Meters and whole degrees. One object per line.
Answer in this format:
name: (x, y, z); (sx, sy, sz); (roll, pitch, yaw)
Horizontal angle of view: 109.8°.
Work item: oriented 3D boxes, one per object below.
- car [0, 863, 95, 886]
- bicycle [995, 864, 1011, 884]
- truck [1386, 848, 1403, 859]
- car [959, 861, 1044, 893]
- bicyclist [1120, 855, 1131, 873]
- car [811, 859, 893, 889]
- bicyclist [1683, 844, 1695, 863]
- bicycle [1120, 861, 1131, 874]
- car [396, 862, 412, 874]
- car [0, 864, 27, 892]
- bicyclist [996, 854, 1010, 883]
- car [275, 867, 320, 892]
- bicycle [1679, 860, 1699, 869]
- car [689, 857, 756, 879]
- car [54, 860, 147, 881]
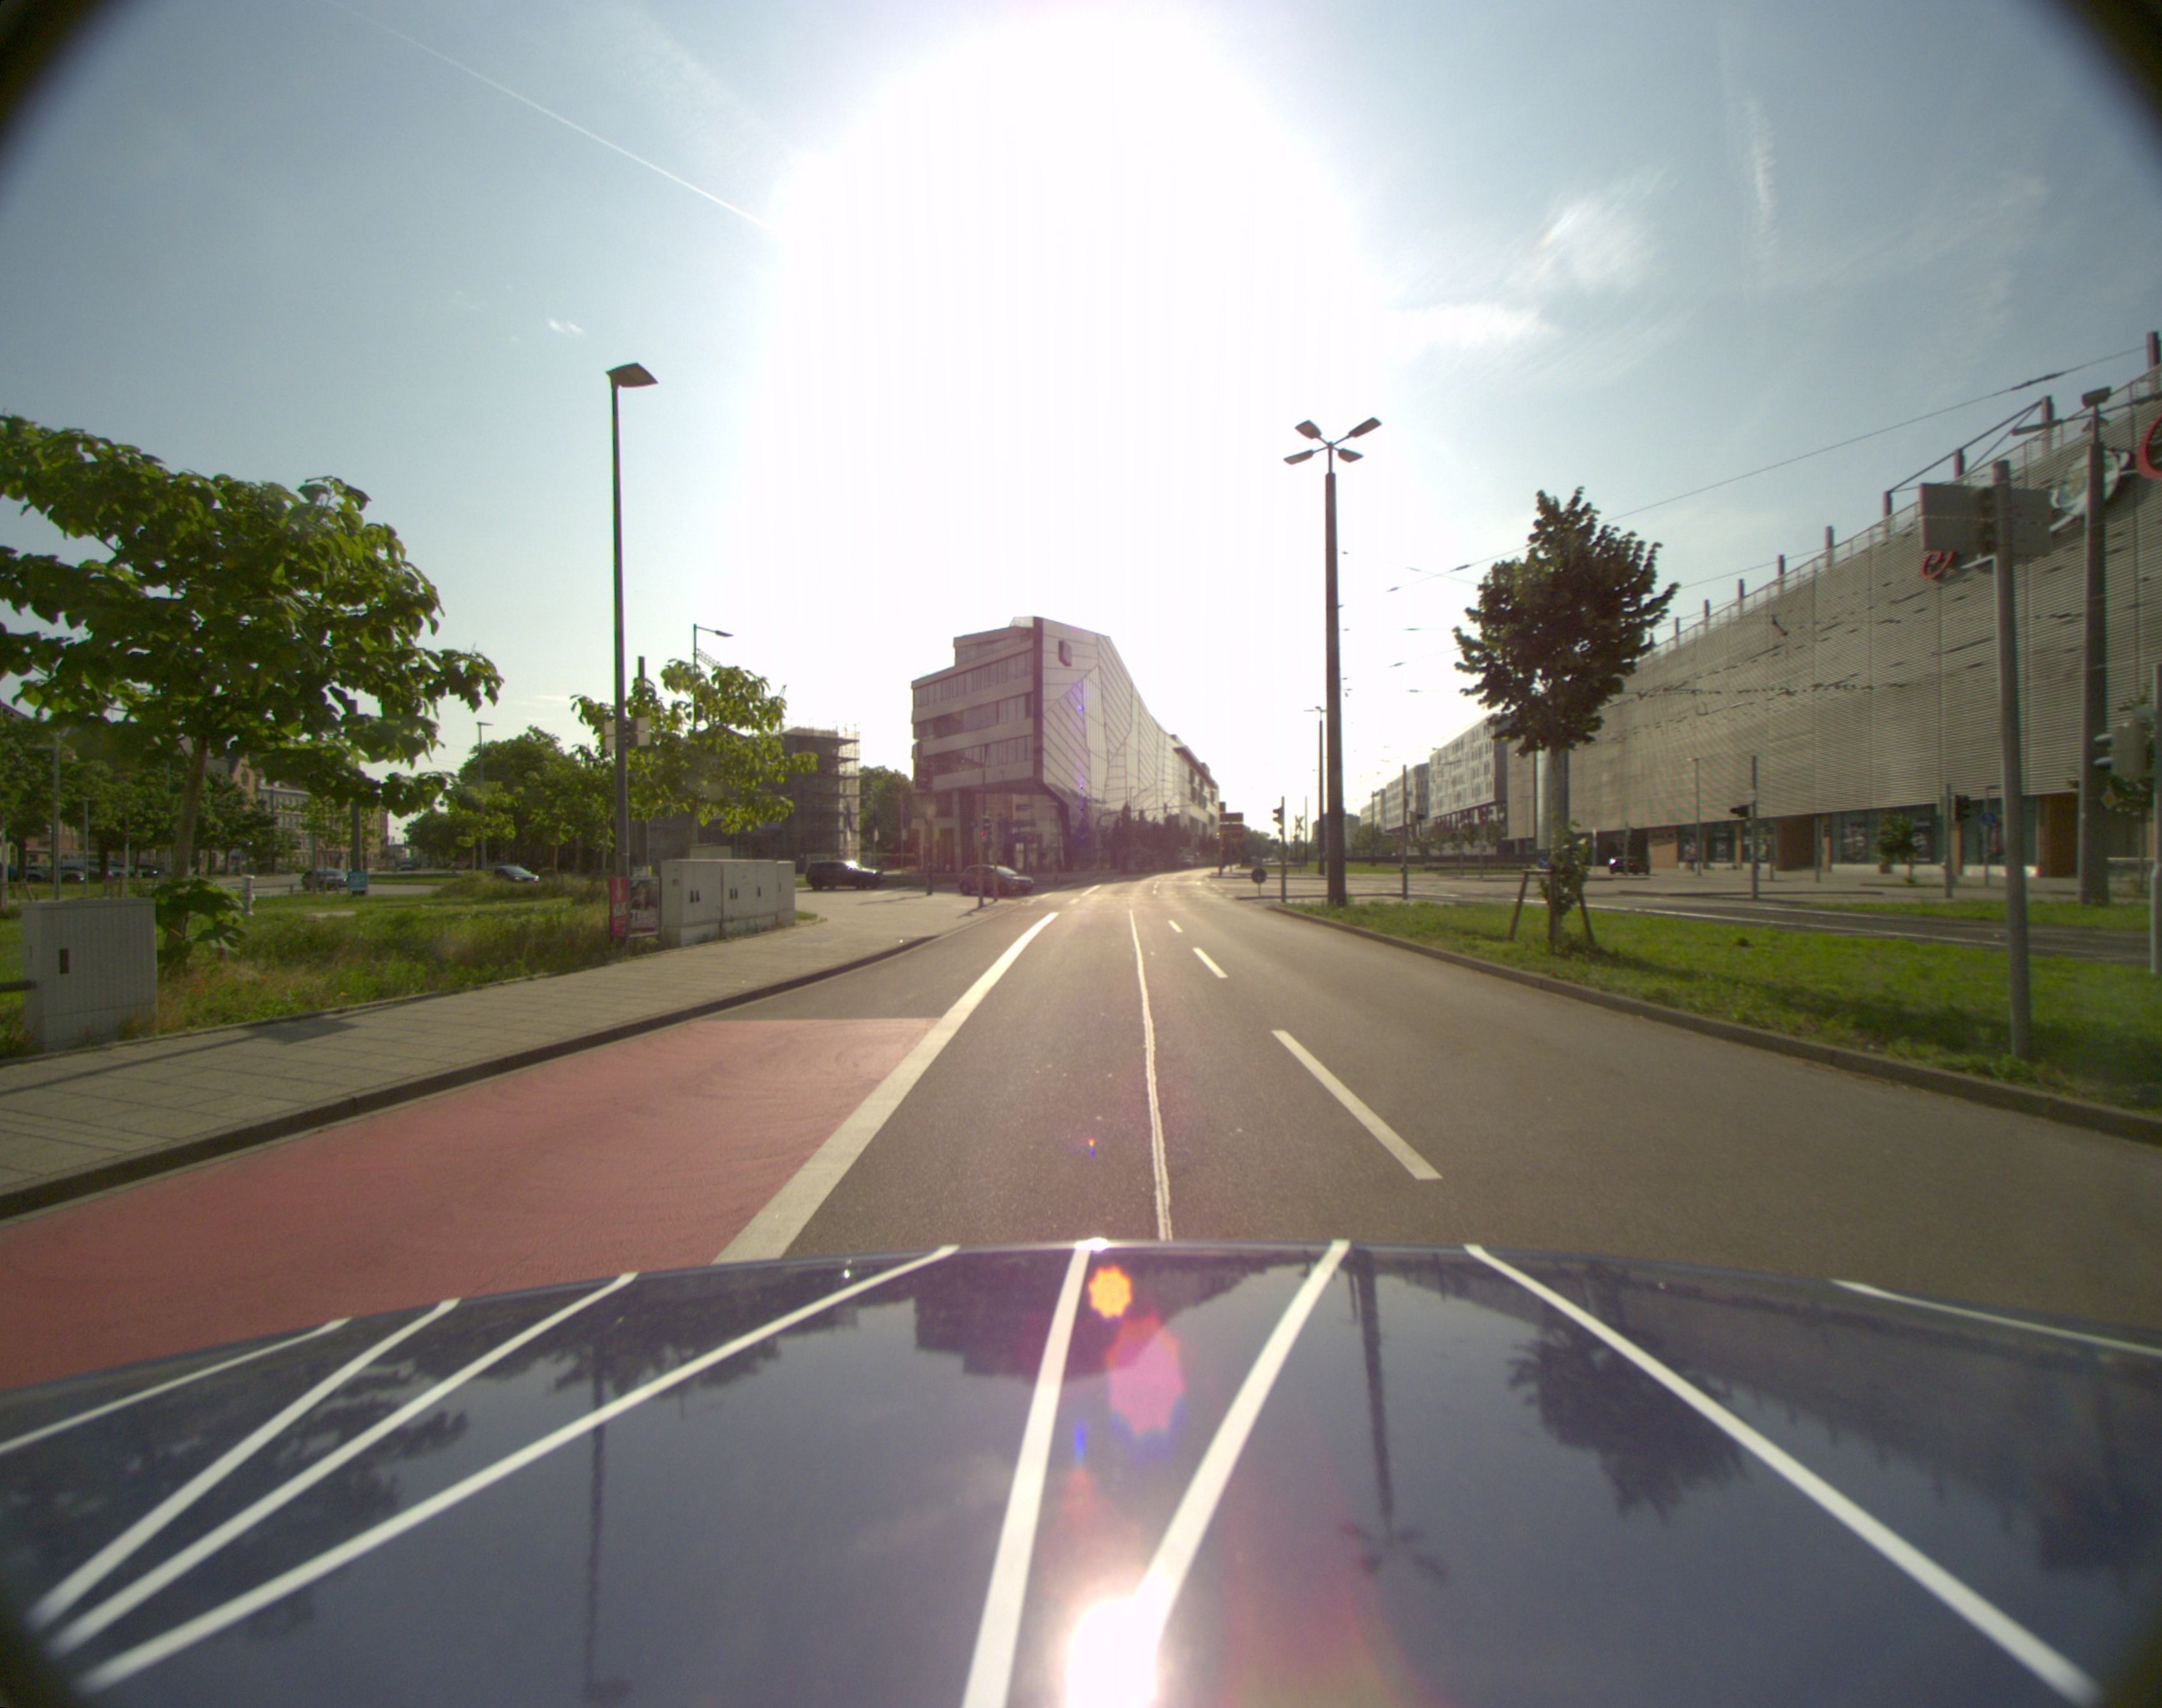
car: (-80.081, 1.575, 58.545); (1.717, 1.754, 4.748); (-1, -1, 23)
bicycle: (-4.705, 1.208, 45.712); (0.669, 1.092, 1.804); (0, 2, 3)
truck: (65.716, -0.064, 159.417); (2.204, 2.308, 4.554); (-1, 0, 9)
car: (-3.844, 1.071, 36.556); (3.884, 1.411, 1.648); (0, 1, 33)
bicyclist: (3.966, 0.883, 67.601); (0.782, 1.577, 0.933); (0, 2, 20)
car: (-13.330, 1.147, 44.273); (4.214, 1.668, 1.805); (-1, 0, 12)
bicyclist: (52.255, -0.055, 65.300); (0.567, 1.621, 0.715); (0, 2, 12)
bicycle: (3.985, 1.203, 67.666); (0.418, 1.050, 1.962); (0, 2, 20)
car: (-116.973, 2.397, 131.341); (2.004, 1.967, 3.988); (-2, 2, -42)
car: (-71.566, 1.595, 48.954); (1.782, 1.795, 3.861); (-1, 0, 18)
bicyclist: (-4.699, 0.869, 45.796); (0.669, 1.693, 0.637); (0, 2, 3)
car: (-52.784, 1.664, 51.184); (3.864, 1.552, 2.004); (-1, 1, 44)
bicycle: (52.258, 0.902, 65.343); (0.581, 0.775, 1.871); (0, 0, 13)
car: (-29.298, 1.121, 62.110); (4.806, 1.773, 1.957); (0, 2, 14)
car: (-88.661, 1.474, 68.815); (1.719, 1.827, 4.932); (0, -1, 11)
